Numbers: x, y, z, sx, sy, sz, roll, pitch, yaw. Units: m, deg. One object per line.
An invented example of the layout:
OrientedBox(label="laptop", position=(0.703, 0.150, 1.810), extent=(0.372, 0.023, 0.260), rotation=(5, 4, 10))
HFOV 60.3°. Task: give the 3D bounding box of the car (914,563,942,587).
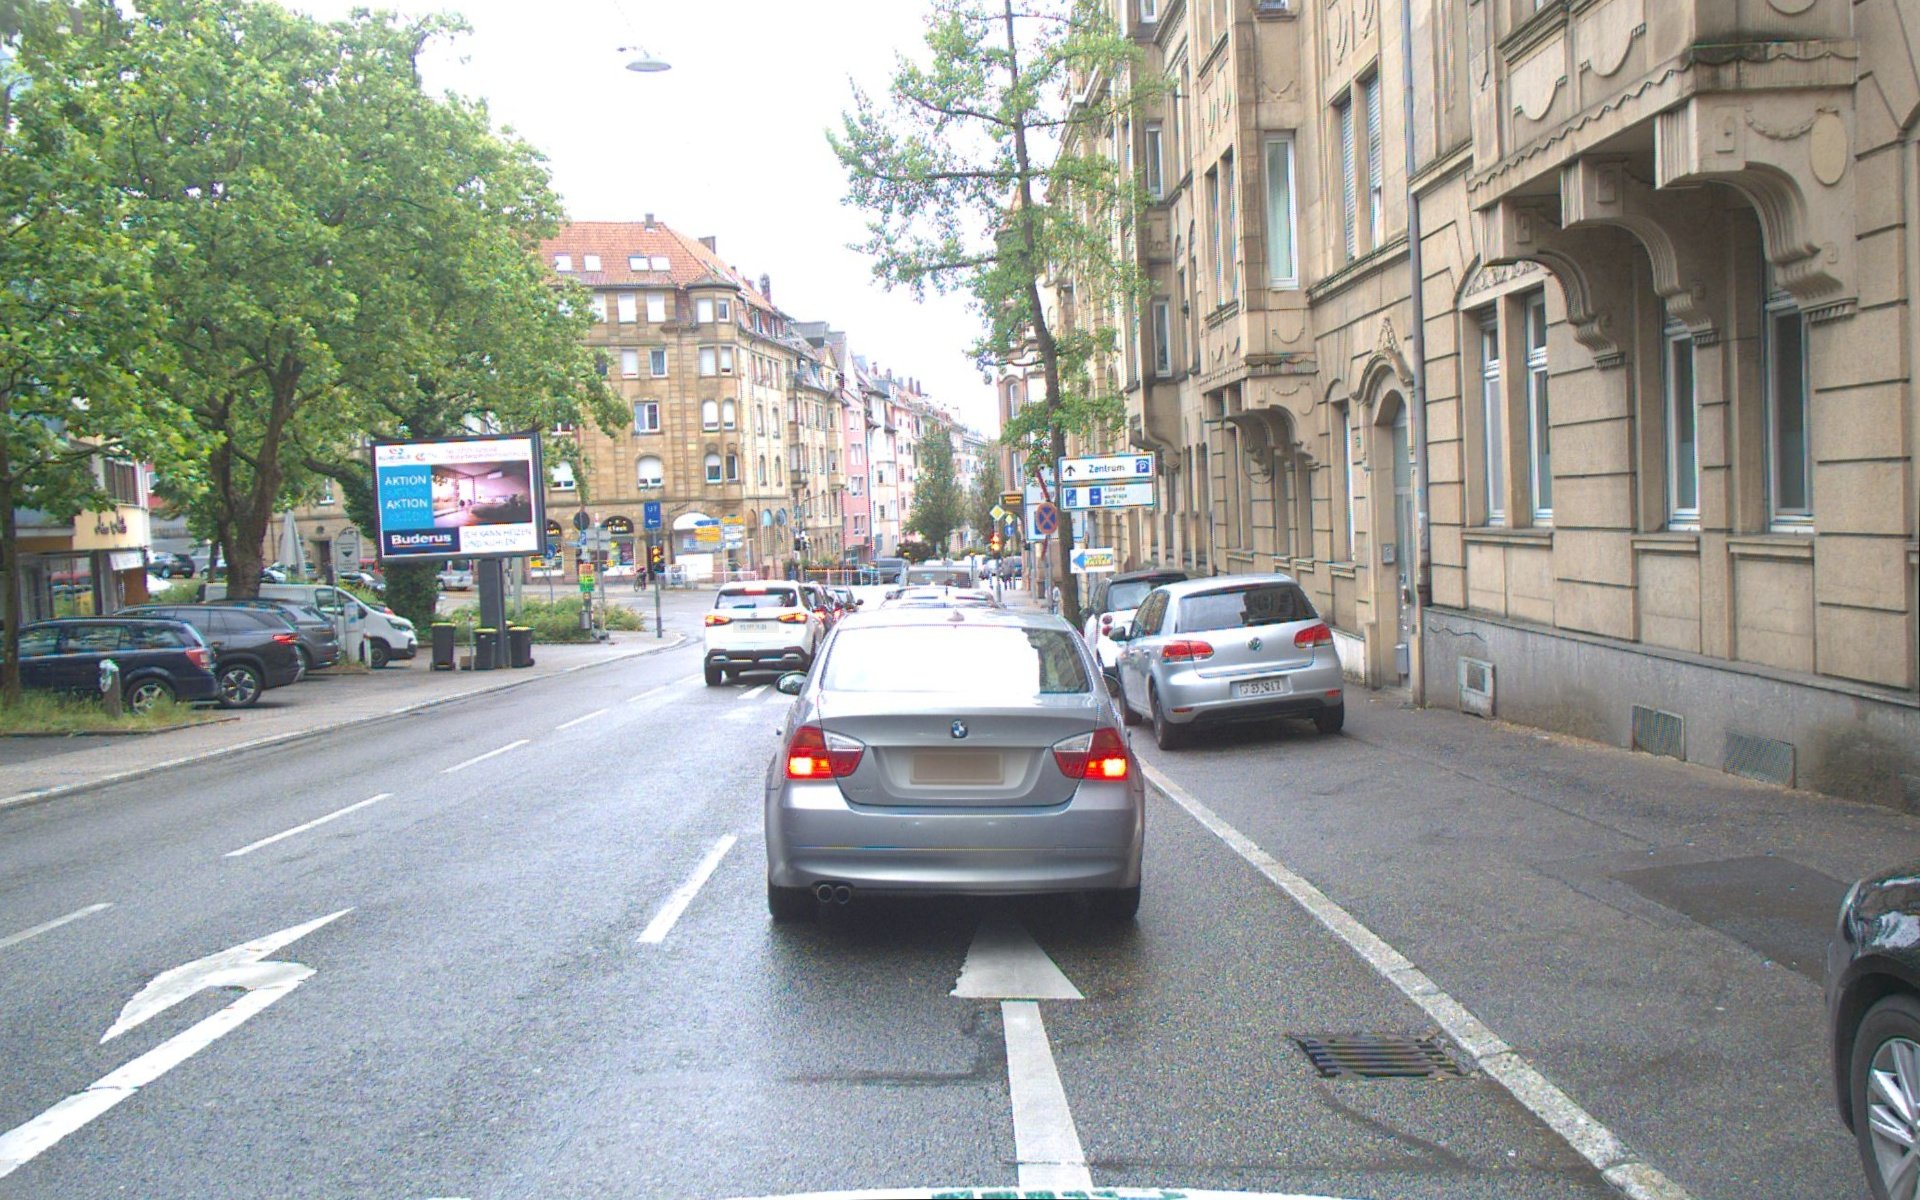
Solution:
OrientedBox(label="car", position=(-2.041, -1.565, 104.762), extent=(1.680, 1.476, 3.741), rotation=(-2, 0, -1))

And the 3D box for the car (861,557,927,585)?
OrientedBox(label="car", position=(-5.171, -2.294, 129.773), extent=(5.072, 2.049, 2.698), rotation=(1, 0, -1))

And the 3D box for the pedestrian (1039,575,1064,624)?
OrientedBox(label="pedestrian", position=(2.995, -0.007, 54.341), extent=(0.618, 1.534, 0.693), rotation=(-6, 0, -2))

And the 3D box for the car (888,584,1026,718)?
OrientedBox(label="car", position=(-0.023, 0.562, 20.816), extent=(1.562, 1.490, 4.000), rotation=(-1, 1, 0))

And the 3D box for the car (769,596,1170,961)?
OrientedBox(label="car", position=(0.050, 0.711, 8.425), extent=(1.590, 1.407, 3.615), rotation=(-1, 1, 0))

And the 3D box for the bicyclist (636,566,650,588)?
OrientedBox(label="bicyclist", position=(-18.423, -1.325, 96.210), extent=(0.556, 1.295, 0.690), rotation=(1, 0, 10))

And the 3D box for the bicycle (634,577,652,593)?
OrientedBox(label="bicycle", position=(-18.438, -0.864, 96.236), extent=(0.561, 0.873, 1.523), rotation=(1, 0, 9))

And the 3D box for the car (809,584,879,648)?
OrientedBox(label="car", position=(-3.336, 0.424, 48.072), extent=(1.723, 1.737, 4.000), rotation=(-1, 1, 0))

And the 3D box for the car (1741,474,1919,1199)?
OrientedBox(label="car", position=(2.822, 0.509, 1.937), extent=(1.724, 1.679, 4.098), rotation=(-6, 1, 0))

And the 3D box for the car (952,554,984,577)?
OrientedBox(label="car", position=(0.592, -2.510, 120.733), extent=(1.951, 1.606, 4.002), rotation=(1, 0, 5))

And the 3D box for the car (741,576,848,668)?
OrientedBox(label="car", position=(-3.284, 0.398, 33.478), extent=(1.723, 1.737, 4.000), rotation=(-1, 1, 0))

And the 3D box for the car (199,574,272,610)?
OrientedBox(label="car", position=(-45.503, -0.529, 103.908), extent=(4.196, 2.138, 1.998), rotation=(2, 2, 28))

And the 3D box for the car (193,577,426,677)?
OrientedBox(label="car", position=(-15.374, 0.608, 39.272), extent=(4.989, 2.142, 1.979), rotation=(-2, 0, -22))

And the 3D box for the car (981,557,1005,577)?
OrientedBox(label="car", position=(2.187, -2.195, 109.763), extent=(1.405, 1.195, 3.433), rotation=(1, 0, -2))

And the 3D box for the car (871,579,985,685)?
OrientedBox(label="car", position=(-0.477, 0.463, 27.177), extent=(1.723, 1.594, 4.000), rotation=(-1, 1, 0))

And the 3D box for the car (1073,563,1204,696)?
OrientedBox(label="car", position=(2.395, 0.363, 22.698), extent=(1.273, 1.569, 2.975), rotation=(-6, 1, -1))

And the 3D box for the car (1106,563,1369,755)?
OrientedBox(label="car", position=(2.584, 0.493, 16.321), extent=(1.725, 1.476, 3.999), rotation=(-6, 1, -1))

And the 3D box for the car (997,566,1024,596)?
OrientedBox(label="car", position=(3.626, -1.384, 119.050), extent=(1.652, 2.048, 3.999), rotation=(-3, 1, -1))

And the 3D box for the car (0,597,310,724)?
OrientedBox(label="car", position=(-12.847, 0.919, 26.672), extent=(4.308, 1.701, 1.842), rotation=(-3, 1, -24))

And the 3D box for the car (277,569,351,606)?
OrientedBox(label="car", position=(-39.616, -0.768, 101.418), extent=(4.196, 2.138, 1.998), rotation=(2, 2, 28))

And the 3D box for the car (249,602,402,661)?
OrientedBox(label="car", position=(-17.832, 0.865, 46.572), extent=(3.916, 1.476, 1.757), rotation=(-2, 0, -22))

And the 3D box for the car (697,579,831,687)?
OrientedBox(label="car", position=(-3.202, 0.491, 27.742), extent=(1.830, 1.654, 3.999), rotation=(-1, 1, -1))

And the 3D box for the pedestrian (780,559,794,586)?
OrientedBox(label="pedestrian", position=(-10.571, -1.683, 101.165), extent=(0.716, 1.605, 0.528), rotation=(-1, 1, 8))

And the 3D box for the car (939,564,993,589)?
OrientedBox(label="car", position=(0.429, -1.634, 113.966), extent=(1.957, 1.606, 3.991), rotation=(1, 0, 31))

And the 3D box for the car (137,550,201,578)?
OrientedBox(label="car", position=(-51.211, -2.329, 107.076), extent=(3.909, 1.718, 1.726), rotation=(1, 0, 27))

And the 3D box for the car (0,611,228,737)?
OrientedBox(label="car", position=(-12.996, 1.065, 23.925), extent=(4.299, 1.601, 1.929), rotation=(-3, 1, -24))

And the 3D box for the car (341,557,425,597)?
OrientedBox(label="car", position=(-32.314, -1.276, 92.648), extent=(3.902, 2.048, 2.002), rotation=(-3, 1, 16))

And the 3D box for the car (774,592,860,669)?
OrientedBox(label="car", position=(-3.439, 0.687, 40.356), extent=(1.723, 1.737, 4.000), rotation=(-1, 1, 0))

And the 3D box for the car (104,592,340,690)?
OrientedBox(label="car", position=(-15.065, 0.805, 34.023), extent=(4.295, 1.815, 1.927), rotation=(-2, 0, -22))

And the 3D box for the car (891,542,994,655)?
OrientedBox(label="car", position=(-0.360, -0.030, 33.457), extent=(1.953, 2.143, 3.999), rotation=(0, 0, -1))

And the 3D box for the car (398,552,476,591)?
OrientedBox(label="car", position=(-30.391, -1.656, 96.091), extent=(4.196, 2.138, 1.998), rotation=(2, 2, 28))

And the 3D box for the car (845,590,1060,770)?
OrientedBox(label="car", position=(-0.048, 0.637, 15.353), extent=(1.723, 1.407, 4.000), rotation=(-1, 1, 0))
